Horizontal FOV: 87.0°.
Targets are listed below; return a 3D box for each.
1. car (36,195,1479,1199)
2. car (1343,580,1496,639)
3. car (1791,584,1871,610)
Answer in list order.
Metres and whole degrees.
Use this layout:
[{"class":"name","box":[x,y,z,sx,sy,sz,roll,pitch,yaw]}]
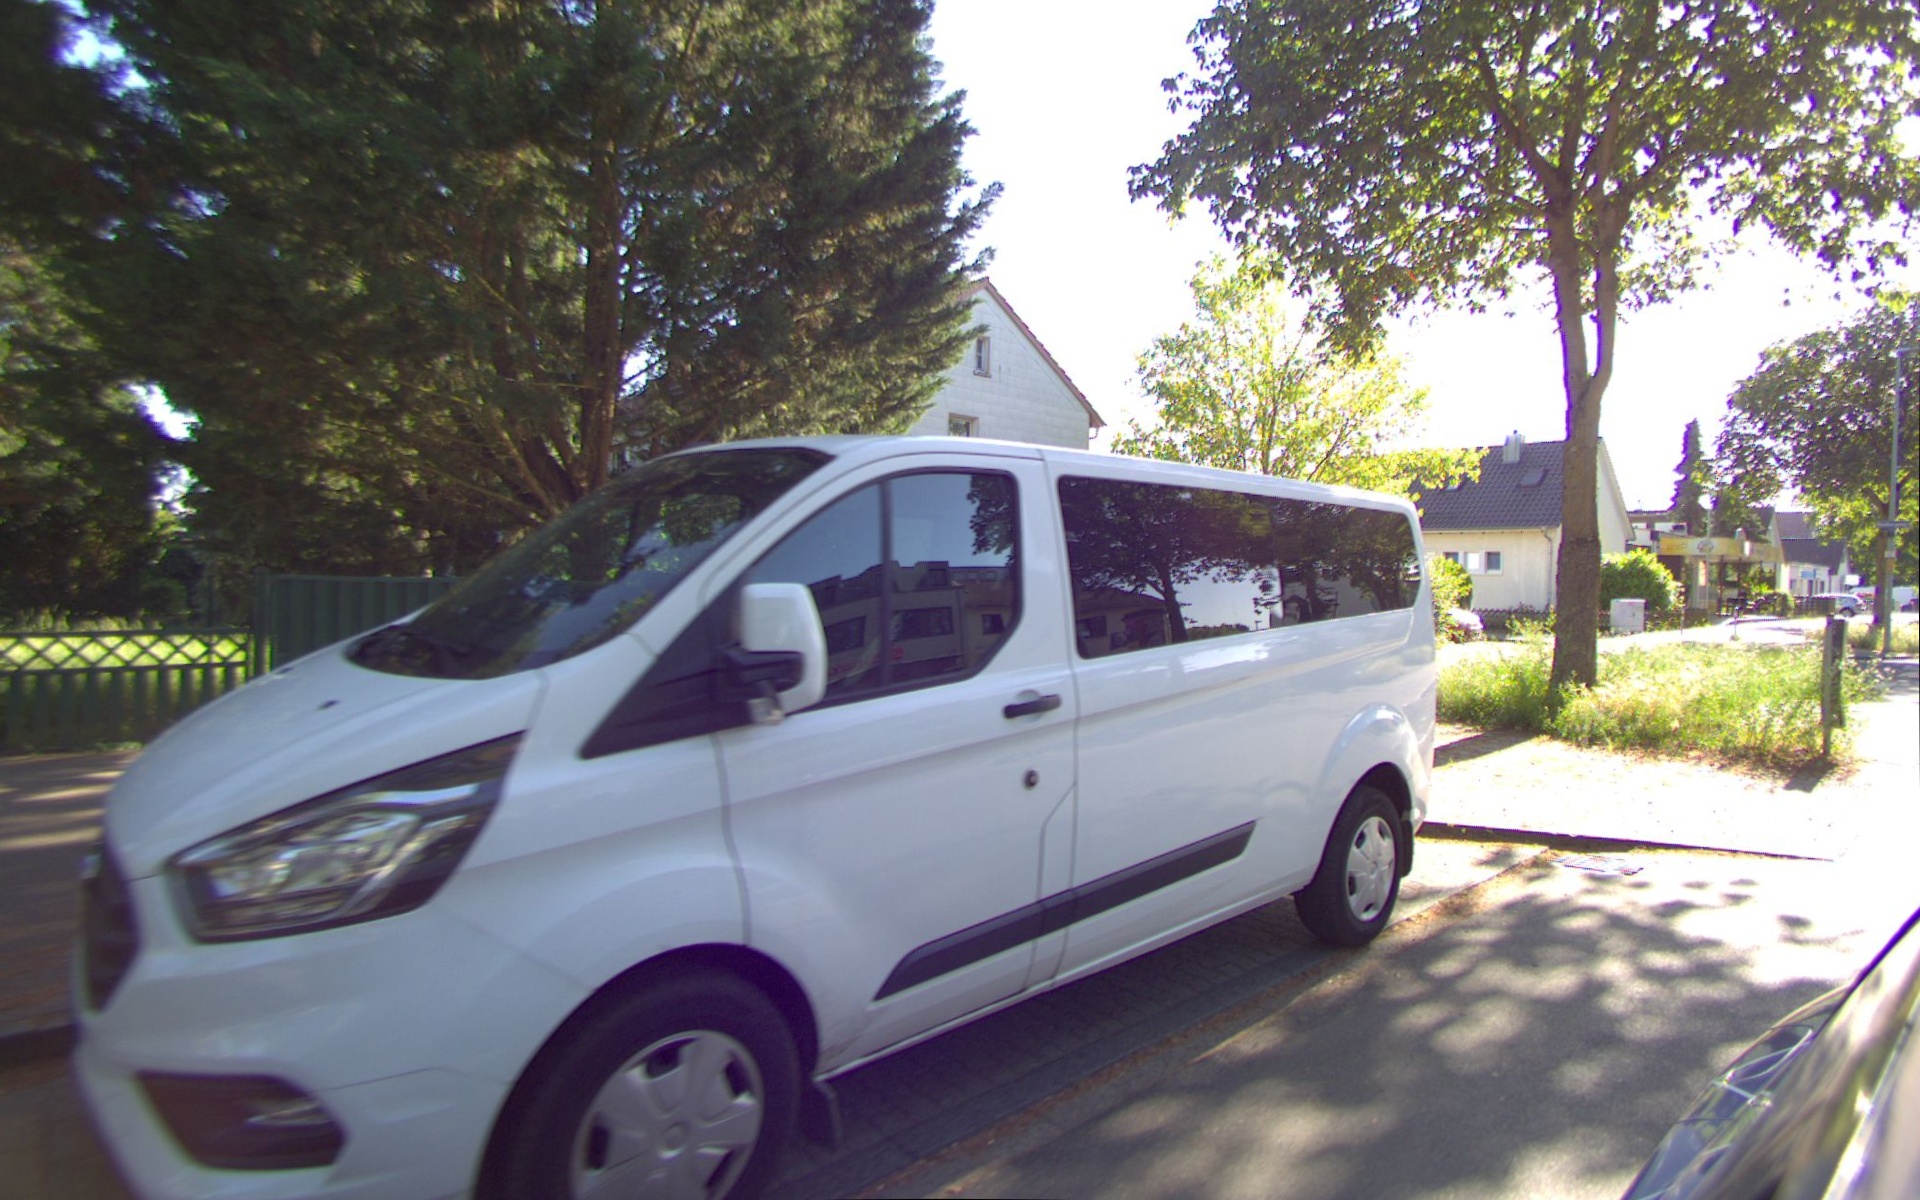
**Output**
[{"class":"car","box":[-0.054,0.454,3.865,5.110,2.039,1.995,-1,-1,-44]},{"class":"car","box":[12.726,0.231,28.131,3.542,1.530,1.613,1,0,45]},{"class":"car","box":[54.685,-0.177,63.567,1.668,1.457,3.613,-1,-1,-44]}]
